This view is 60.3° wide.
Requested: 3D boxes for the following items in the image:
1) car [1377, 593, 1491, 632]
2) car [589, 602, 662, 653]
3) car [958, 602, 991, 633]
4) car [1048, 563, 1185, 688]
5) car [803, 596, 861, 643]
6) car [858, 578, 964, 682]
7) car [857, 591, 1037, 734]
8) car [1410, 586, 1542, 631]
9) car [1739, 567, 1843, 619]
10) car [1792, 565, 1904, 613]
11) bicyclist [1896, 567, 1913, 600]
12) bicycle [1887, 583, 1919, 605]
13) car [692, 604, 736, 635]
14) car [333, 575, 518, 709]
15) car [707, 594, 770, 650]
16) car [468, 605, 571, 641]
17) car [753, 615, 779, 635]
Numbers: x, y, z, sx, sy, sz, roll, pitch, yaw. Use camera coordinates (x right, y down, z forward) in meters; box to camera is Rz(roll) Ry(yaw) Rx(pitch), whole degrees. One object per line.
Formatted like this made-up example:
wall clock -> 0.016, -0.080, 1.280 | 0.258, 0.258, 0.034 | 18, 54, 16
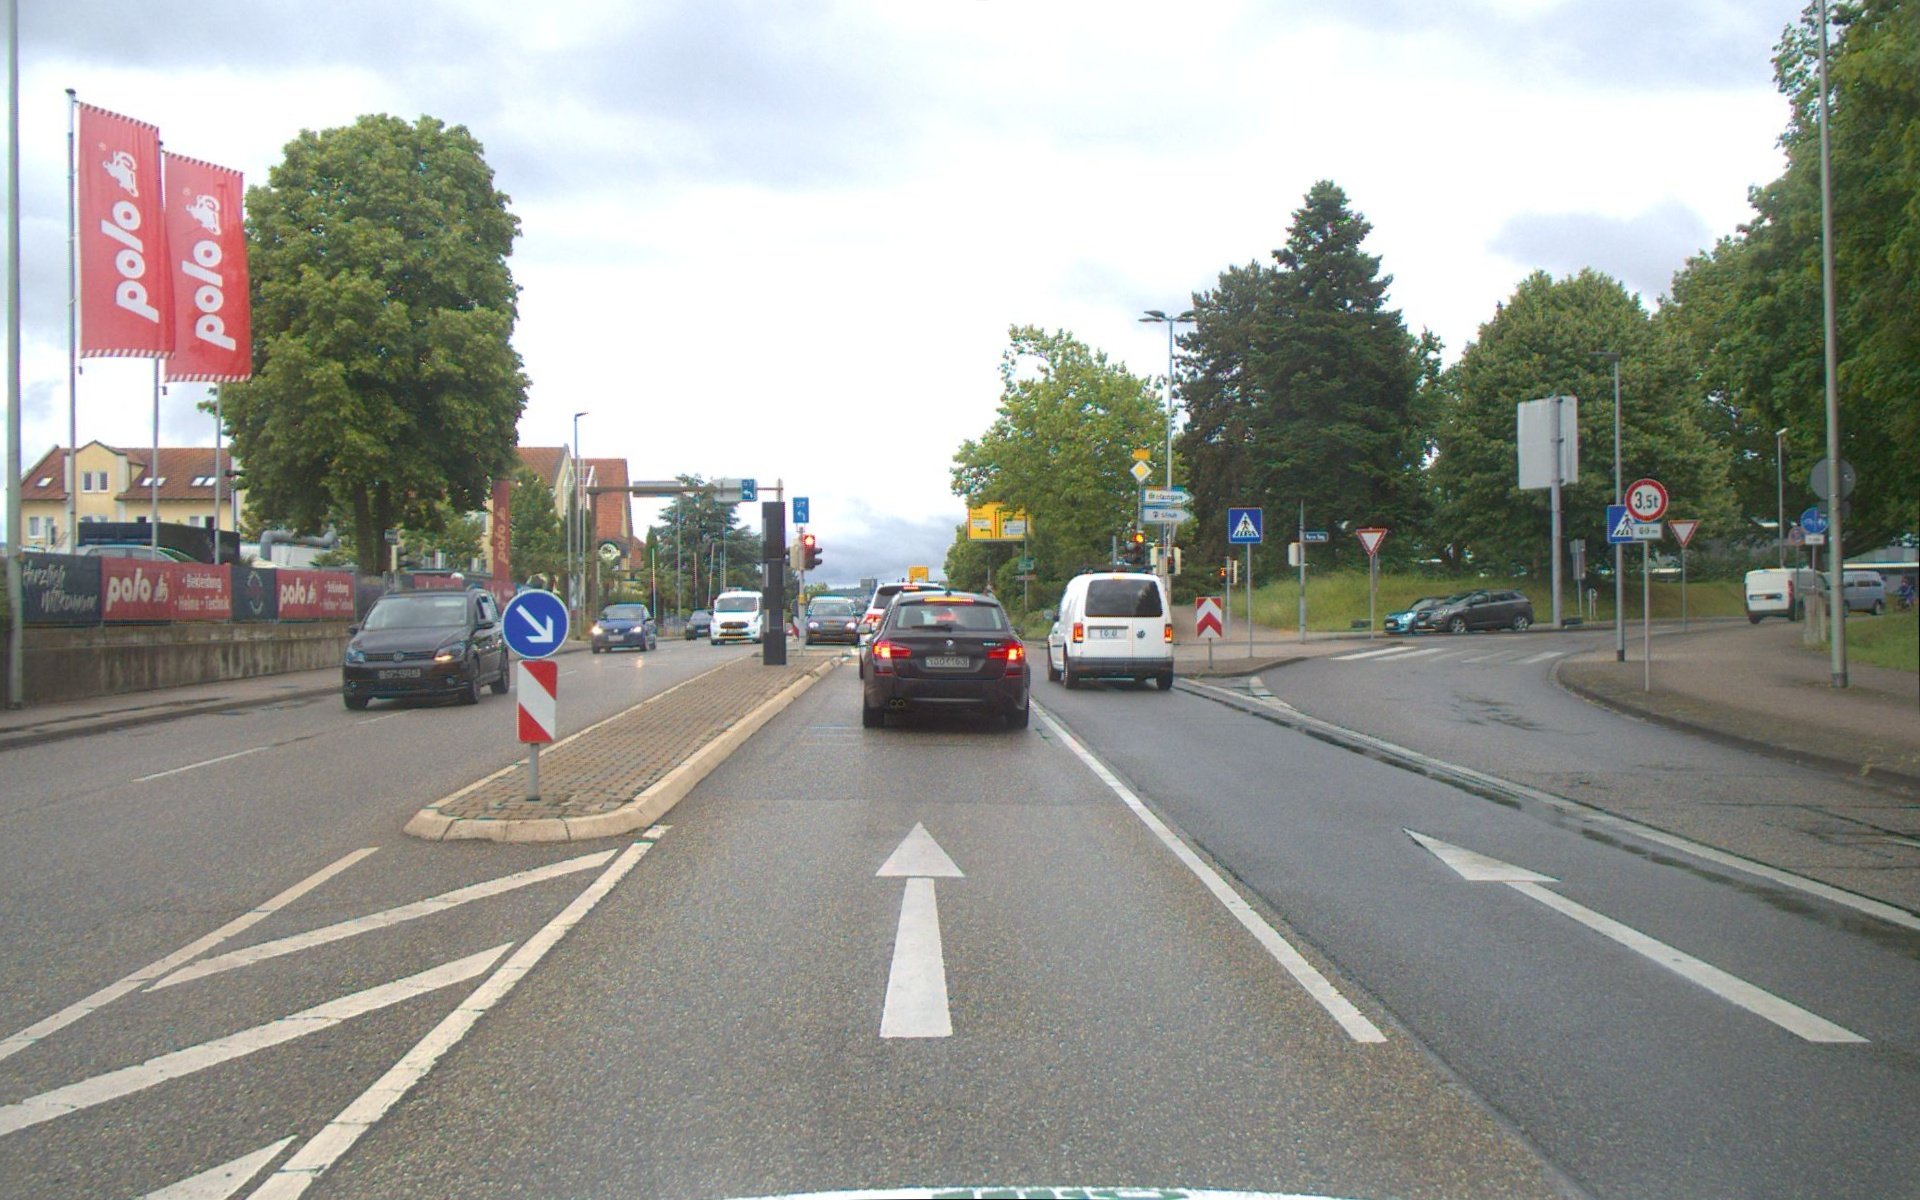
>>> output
car -> 17.742, 0.451, 61.953 | 3.928, 1.316, 1.600 | -2, 1, -20
car -> -10.354, 0.815, 51.418 | 1.602, 1.406, 3.763 | -2, 1, -3
car -> 0.714, 0.880, 83.633 | 1.567, 1.395, 3.680 | -1, 2, 0
car -> 2.518, 0.373, 27.425 | 1.707, 1.902, 3.944 | 1, 0, -3
car -> -4.260, 0.632, 54.903 | 1.857, 1.481, 4.093 | -1, 0, -5
car -> -0.829, 0.493, 29.720 | 1.692, 1.741, 3.383 | 1, 0, 2
car -> -0.100, 0.633, 18.896 | 1.816, 1.444, 3.957 | 1, 0, 1
car -> 18.333, 0.297, 58.774 | 4.254, 1.492, 1.889 | -1, 0, -21
car -> 29.230, -0.271, 58.152 | 3.906, 1.738, 1.795 | -2, 2, -38
car -> 36.925, -0.485, 68.747 | 4.674, 1.883, 1.883 | -1, 2, -29
bicyclist -> 42.640, -0.740, 74.683 | 0.554, 1.515, 0.450 | -1, 0, -30
bicycle -> 42.643, -0.283, 74.674 | 1.726, 0.969, 0.574 | -1, 0, -30
car -> -11.749, 0.911, 79.064 | 1.634, 1.406, 4.070 | -1, 0, -2
car -> -7.604, 0.539, 23.890 | 1.723, 1.706, 4.142 | -2, 0, -7
car -> -7.816, 0.757, 58.668 | 1.821, 1.855, 4.576 | -2, 0, -3
car -> -19.589, 0.999, 73.550 | 4.148, 1.481, 1.783 | -1, 0, -30
car -> -14.384, 1.846, 122.720 | 1.634, 1.377, 3.441 | -1, 0, -2
